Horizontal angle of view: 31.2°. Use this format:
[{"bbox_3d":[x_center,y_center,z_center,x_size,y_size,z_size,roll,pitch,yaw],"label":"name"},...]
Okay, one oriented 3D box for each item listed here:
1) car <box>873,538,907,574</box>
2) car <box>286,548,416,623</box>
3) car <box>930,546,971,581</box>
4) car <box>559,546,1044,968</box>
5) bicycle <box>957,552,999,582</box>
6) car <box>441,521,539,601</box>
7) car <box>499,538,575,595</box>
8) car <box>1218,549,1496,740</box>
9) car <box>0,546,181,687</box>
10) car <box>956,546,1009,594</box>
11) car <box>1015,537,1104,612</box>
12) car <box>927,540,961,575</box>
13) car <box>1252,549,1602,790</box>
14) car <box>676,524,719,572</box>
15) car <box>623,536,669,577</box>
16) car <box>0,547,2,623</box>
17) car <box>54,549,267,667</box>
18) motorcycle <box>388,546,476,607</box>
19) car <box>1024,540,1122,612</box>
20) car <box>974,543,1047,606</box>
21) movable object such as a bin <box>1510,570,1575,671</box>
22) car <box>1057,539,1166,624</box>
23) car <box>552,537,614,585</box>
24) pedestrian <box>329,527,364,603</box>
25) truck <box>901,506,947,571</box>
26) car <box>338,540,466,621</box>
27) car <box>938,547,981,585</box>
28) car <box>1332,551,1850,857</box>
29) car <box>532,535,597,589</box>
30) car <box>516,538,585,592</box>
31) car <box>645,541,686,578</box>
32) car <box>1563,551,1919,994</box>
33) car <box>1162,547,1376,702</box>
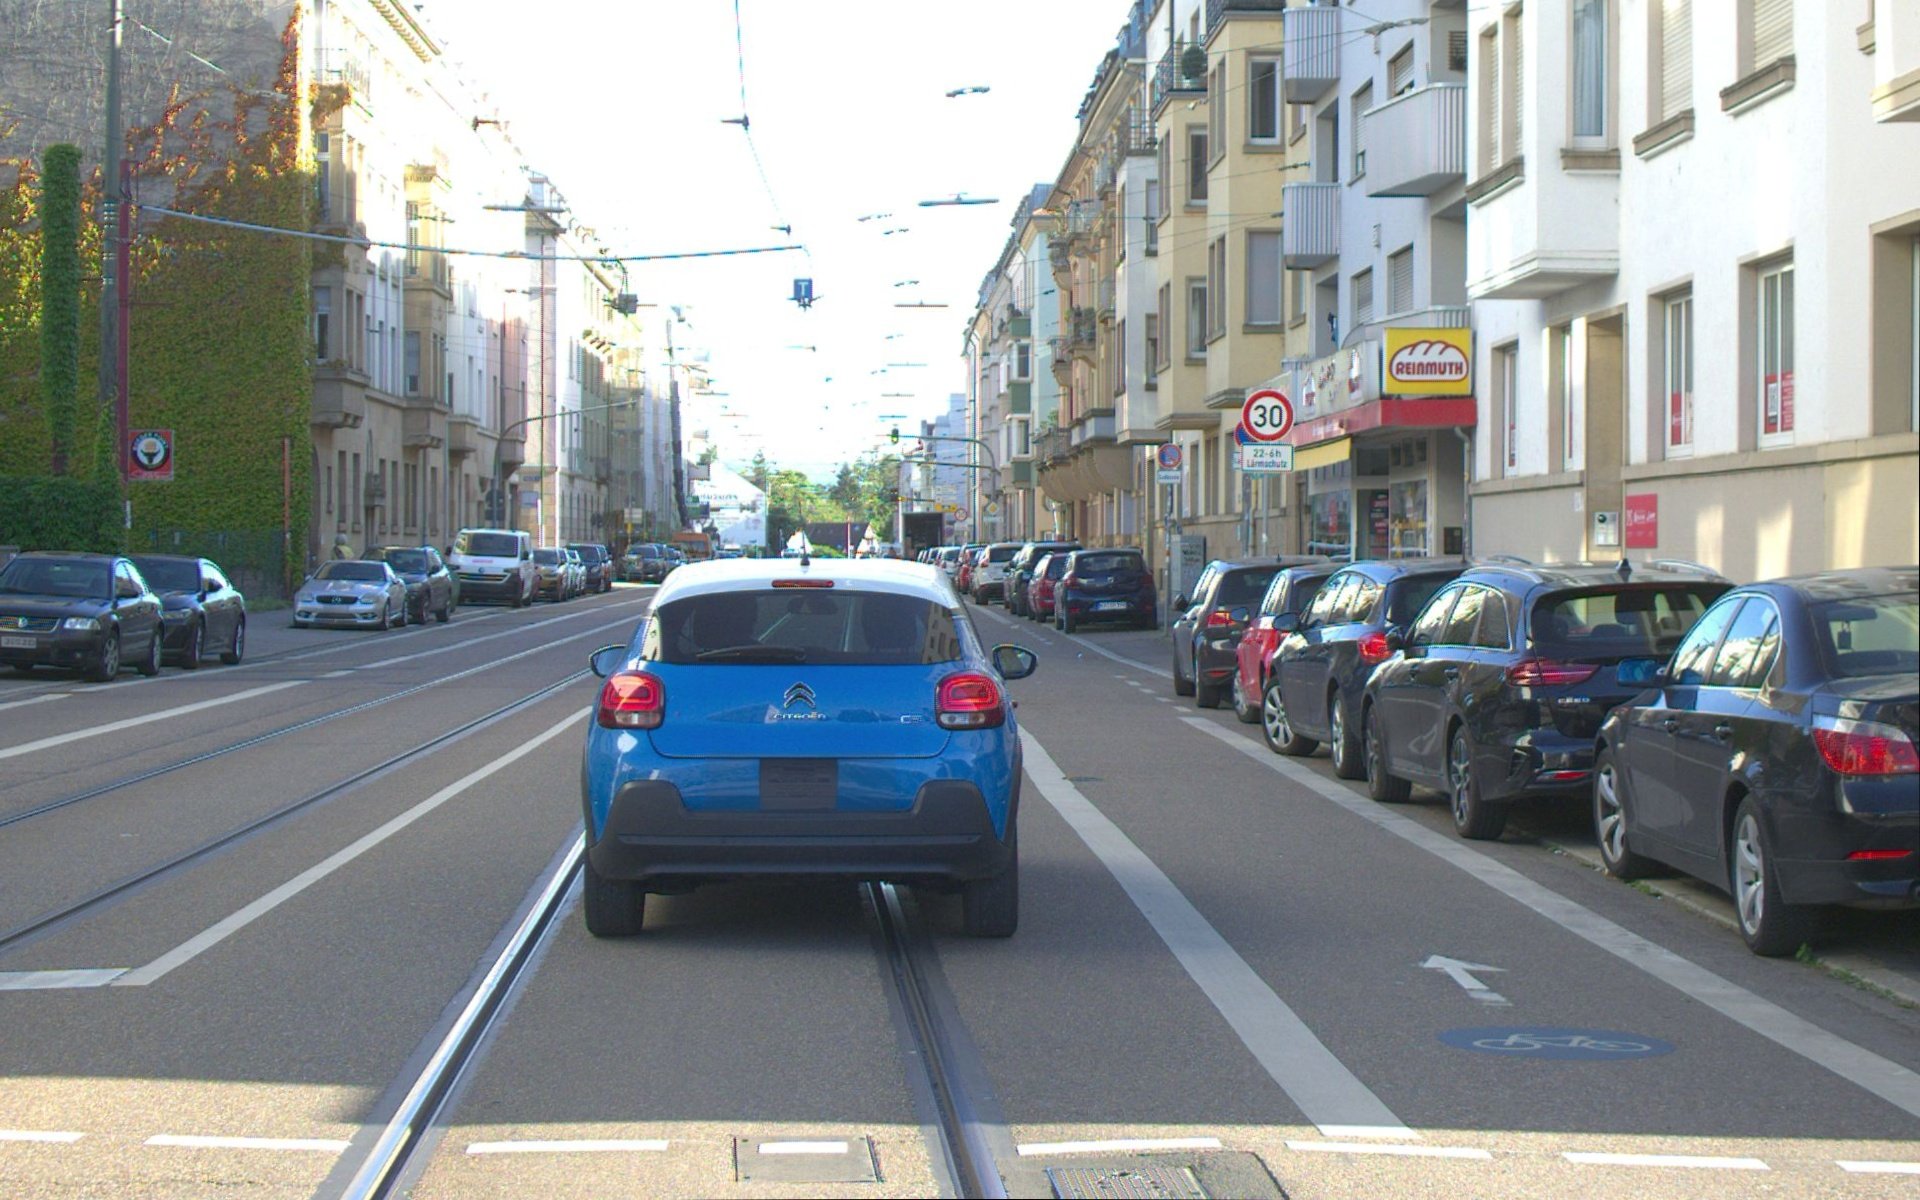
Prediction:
[{"bbox_3d":[-3.826,-2.390,186.810,1.820,1.888,4.000,1,1,-2],"label":"car"},{"bbox_3d":[-11.466,-0.290,64.962,1.783,1.309,4.221,2,1,-2],"label":"car"},{"bbox_3d":[-0.456,-1.659,155.682,1.783,1.570,4.326,0,1,-1],"label":"car"},{"bbox_3d":[-0.629,0.549,14.662,1.735,1.502,3.993,2,1,-1],"label":"car"},{"bbox_3d":[0.754,-1.406,146.884,1.722,1.150,0.469,-3,1,-1],"label":"bicycle"},{"bbox_3d":[-12.096,-1.025,88.679,1.973,1.942,5.252,2,1,-3],"label":"car"},{"bbox_3d":[-12.079,-0.977,98.449,1.783,1.518,4.360,2,1,-3],"label":"car"},{"bbox_3d":[3.355,0.330,29.751,1.857,1.468,3.989,-2,1,0],"label":"car"},{"bbox_3d":[-10.402,0.140,39.875,1.783,1.476,4.700,2,1,-2],"label":"car"},{"bbox_3d":[0.746,-1.013,116.075,1.753,1.589,3.730,0,1,0],"label":"car"},{"bbox_3d":[2.231,-0.601,78.359,1.859,1.660,4.562,0,1,0],"label":"car"},{"bbox_3d":[-0.842,-2.223,179.037,1.730,1.821,4.687,0,1,-1],"label":"car"},{"bbox_3d":[3.228,0.424,24.540,1.857,1.502,4.096,-2,1,0],"label":"car"},{"bbox_3d":[-14.113,-2.788,184.884,2.144,2.467,4.981,2,1,-4],"label":"car"},{"bbox_3d":[-13.699,-1.921,150.068,1.783,1.684,4.668,2,1,-4],"label":"car"},{"bbox_3d":[-10.288,0.179,31.479,1.783,1.393,4.445,2,1,0],"label":"car"},{"bbox_3d":[-10.651,0.064,46.121,1.783,1.441,4.842,2,1,-1],"label":"car"},{"bbox_3d":[-11.827,-0.527,77.038,0.885,1.346,1.954,1,1,31],"label":"motorcycle"},{"bbox_3d":[2.339,-0.526,71.971,1.859,1.450,4.710,0,1,0],"label":"car"},{"bbox_3d":[1.365,-0.721,94.795,1.843,1.685,4.505,0,1,-1],"label":"car"},{"bbox_3d":[6.176,0.217,36.455,0.558,1.053,0.554,0,1,-2],"label":"movable object such as a bin"},{"bbox_3d":[2.757,-0.367,63.328,1.718,1.486,4.002,-1,1,-1],"label":"car"},{"bbox_3d":[-12.586,-1.311,114.925,1.783,1.547,3.019,2,1,-2],"label":"car"},{"bbox_3d":[-13.997,-0.793,78.422,0.679,1.718,0.616,1,1,-1],"label":"pedestrian"},{"bbox_3d":[-2.279,-3.935,220.830,2.853,4.069,11.271,0,1,0],"label":"truck"},{"bbox_3d":[-11.379,-0.420,70.388,1.783,1.560,4.610,2,1,0],"label":"car"},{"bbox_3d":[-0.049,-1.491,149.963,1.783,1.626,4.000,0,1,-1],"label":"car"},{"bbox_3d":[3.510,0.508,20.018,1.857,1.502,4.507,-2,1,-4],"label":"car"},{"bbox_3d":[-12.540,-1.225,109.151,1.783,1.616,4.180,2,1,-4],"label":"car"},{"bbox_3d":[-12.353,-1.077,103.915,1.771,1.541,4.366,2,1,-4],"label":"car"},{"bbox_3d":[-13.780,-1.908,161.035,1.783,1.621,4.610,2,1,-4],"label":"car"},{"bbox_3d":[3.928,0.578,14.701,1.748,1.502,4.919,-2,1,0],"label":"car"},{"bbox_3d":[3.088,0.201,35.062,1.710,1.402,4.358,-2,1,0],"label":"car"}]
